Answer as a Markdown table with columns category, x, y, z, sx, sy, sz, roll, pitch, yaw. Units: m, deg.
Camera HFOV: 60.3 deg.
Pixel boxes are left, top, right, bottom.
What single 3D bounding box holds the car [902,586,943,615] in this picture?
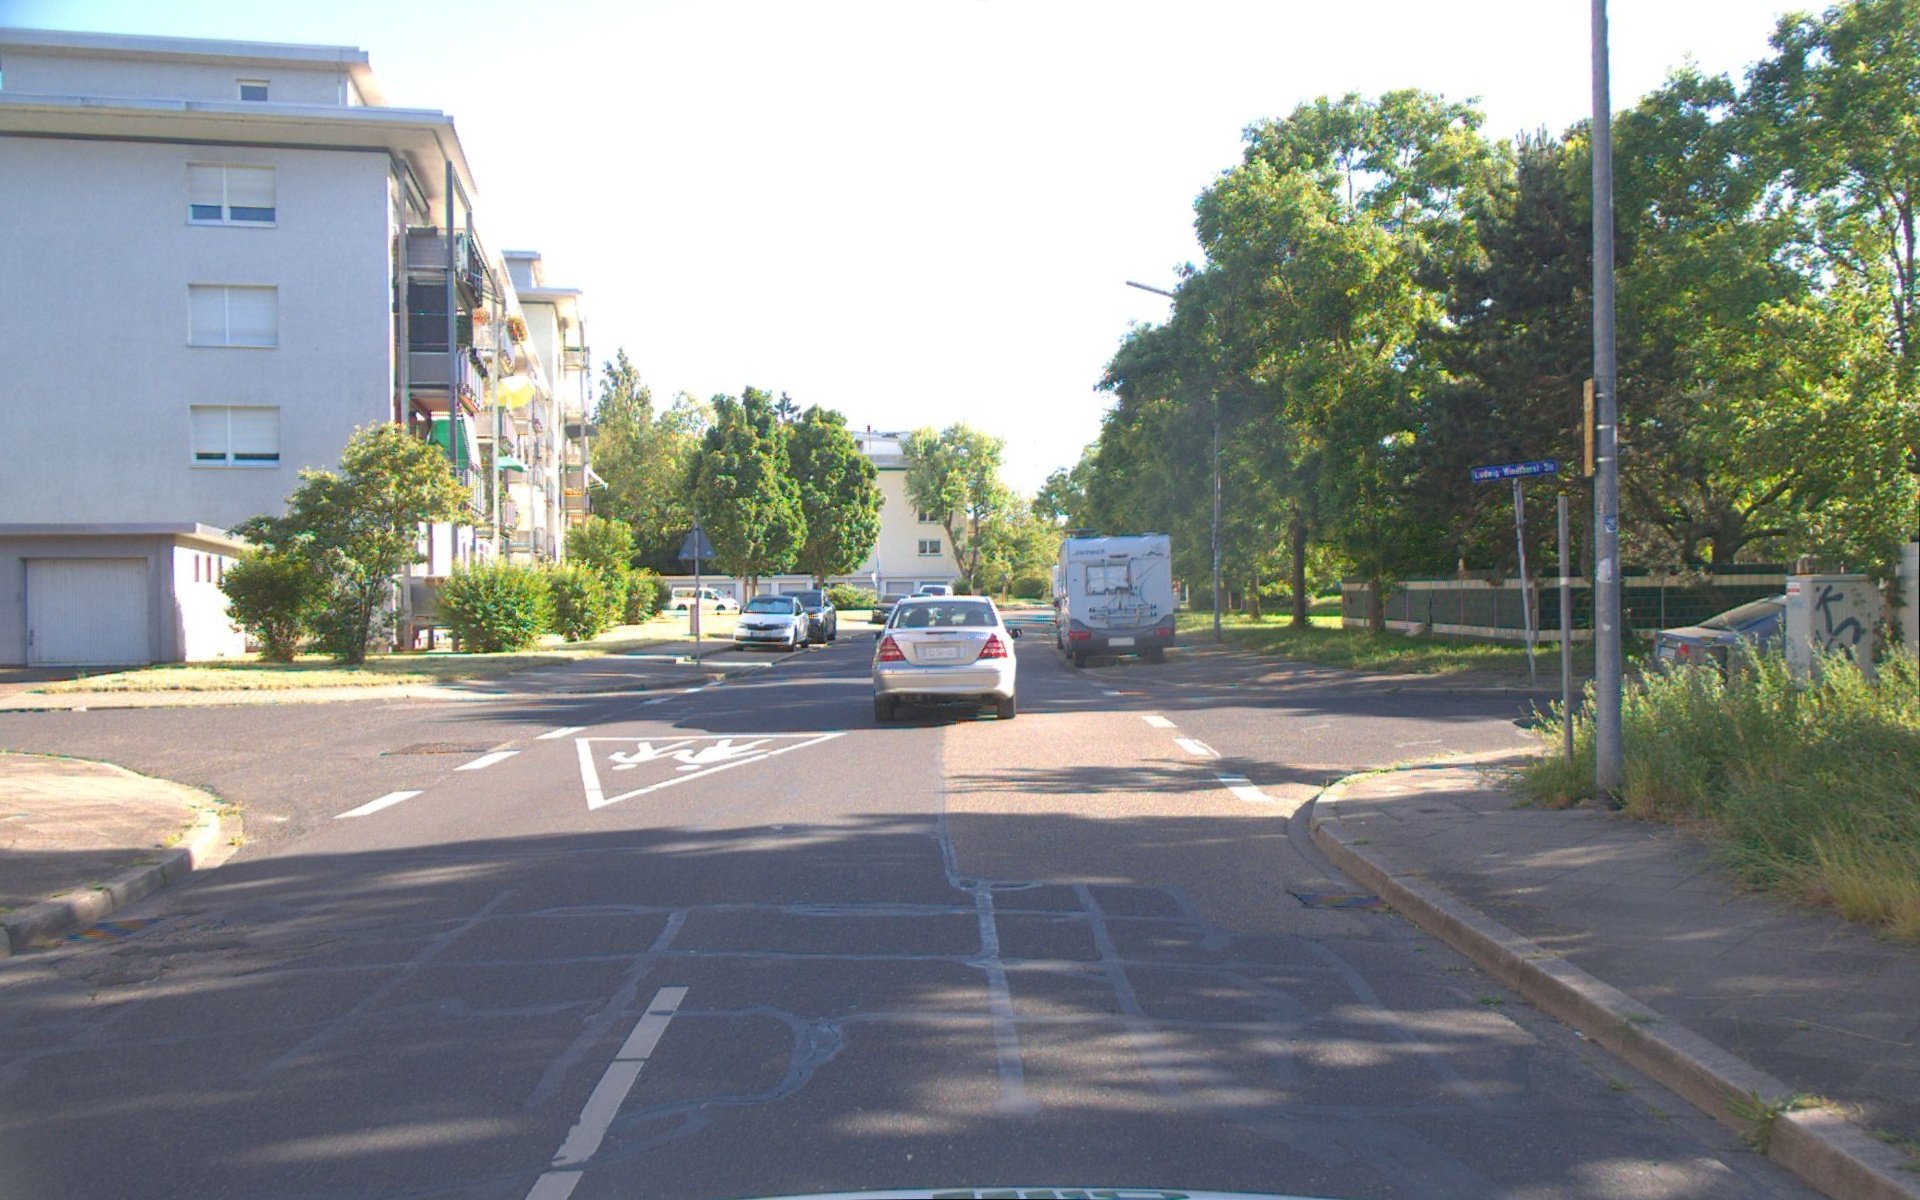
| category | x | y | z | sx | sy | sz | roll | pitch | yaw |
| --- | --- | --- | --- | --- | --- | --- | --- | --- | --- |
| car | -2.111 | 0.026 | 93.850 | 1.794 | 1.544 | 4.224 | 1 | 0 | 5 |

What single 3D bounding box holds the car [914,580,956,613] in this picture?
| category | x | y | z | sx | sy | sz | roll | pitch | yaw |
| --- | --- | --- | --- | --- | --- | --- | --- | --- | --- |
| car | -1.483 | -0.240 | 100.317 | 1.971 | 1.918 | 5.194 | 1 | 0 | 6 |

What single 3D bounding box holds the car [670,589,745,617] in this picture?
| category | x | y | z | sx | sy | sz | roll | pitch | yaw |
| --- | --- | --- | --- | --- | --- | --- | --- | --- | --- |
| car | -18.897 | 0.205 | 123.943 | 4.996 | 1.985 | 2.239 | -1 | 0 | 12 |

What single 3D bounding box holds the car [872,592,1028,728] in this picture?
| category | x | y | z | sx | sy | sz | roll | pitch | yaw |
| --- | --- | --- | --- | --- | --- | --- | --- | --- | --- |
| car | -0.068 | 0.659 | 20.031 | 1.697 | 1.459 | 3.439 | -1 | 0 | 1 |

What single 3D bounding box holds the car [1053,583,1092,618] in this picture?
| category | x | y | z | sx | sy | sz | roll | pitch | yaw |
| --- | --- | --- | --- | --- | --- | --- | --- | --- | --- |
| car | 5.405 | 0.002 | 79.874 | 1.685 | 1.551 | 4.430 | -4 | 0 | 3 |

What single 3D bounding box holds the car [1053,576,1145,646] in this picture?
| category | x | y | z | sx | sy | sz | roll | pitch | yaw |
| --- | --- | --- | --- | --- | --- | --- | --- | --- | --- |
| car | 3.606 | 0.252 | 43.688 | 1.953 | 1.669 | 4.536 | -3 | 1 | -1 |

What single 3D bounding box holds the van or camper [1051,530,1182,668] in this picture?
| category | x | y | z | sx | sy | sz | roll | pitch | yaw |
| --- | --- | --- | --- | --- | --- | --- | --- | --- | --- |
| van or camper | 3.357 | -0.059 | 36.894 | 2.303 | 2.641 | 6.427 | -4 | 0 | 1 |

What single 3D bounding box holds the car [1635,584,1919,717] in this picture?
| category | x | y | z | sx | sy | sz | roll | pitch | yaw |
| --- | --- | --- | --- | --- | --- | --- | --- | --- | --- |
| car | 9.986 | 0.527 | 18.305 | 4.332 | 1.360 | 1.747 | 0 | 2 | 4 |

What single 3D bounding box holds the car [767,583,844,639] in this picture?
| category | x | y | z | sx | sy | sz | roll | pitch | yaw |
| --- | --- | --- | --- | --- | --- | --- | --- | --- | --- |
| car | -4.836 | 0.307 | 52.292 | 1.875 | 1.632 | 4.813 | 1 | 1 | 1 |

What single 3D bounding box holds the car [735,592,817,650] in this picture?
| category | x | y | z | sx | sy | sz | roll | pitch | yaw |
| --- | --- | --- | --- | --- | --- | --- | --- | --- | --- |
| car | -5.032 | 0.536 | 45.709 | 1.612 | 1.492 | 4.332 | 0 | 1 | 2 |

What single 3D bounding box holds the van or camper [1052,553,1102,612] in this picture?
| category | x | y | z | sx | sy | sz | roll | pitch | yaw |
| --- | --- | --- | --- | --- | --- | --- | --- | --- | --- |
| van or camper | 6.156 | -0.919 | 86.949 | 2.444 | 2.895 | 6.855 | -2 | 1 | 4 |

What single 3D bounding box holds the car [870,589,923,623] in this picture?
| category | x | y | z | sx | sy | sz | roll | pitch | yaw |
| --- | --- | --- | --- | --- | --- | --- | --- | --- | --- |
| car | -3.073 | 0.270 | 81.050 | 1.992 | 1.519 | 5.259 | -1 | 0 | 4 |
